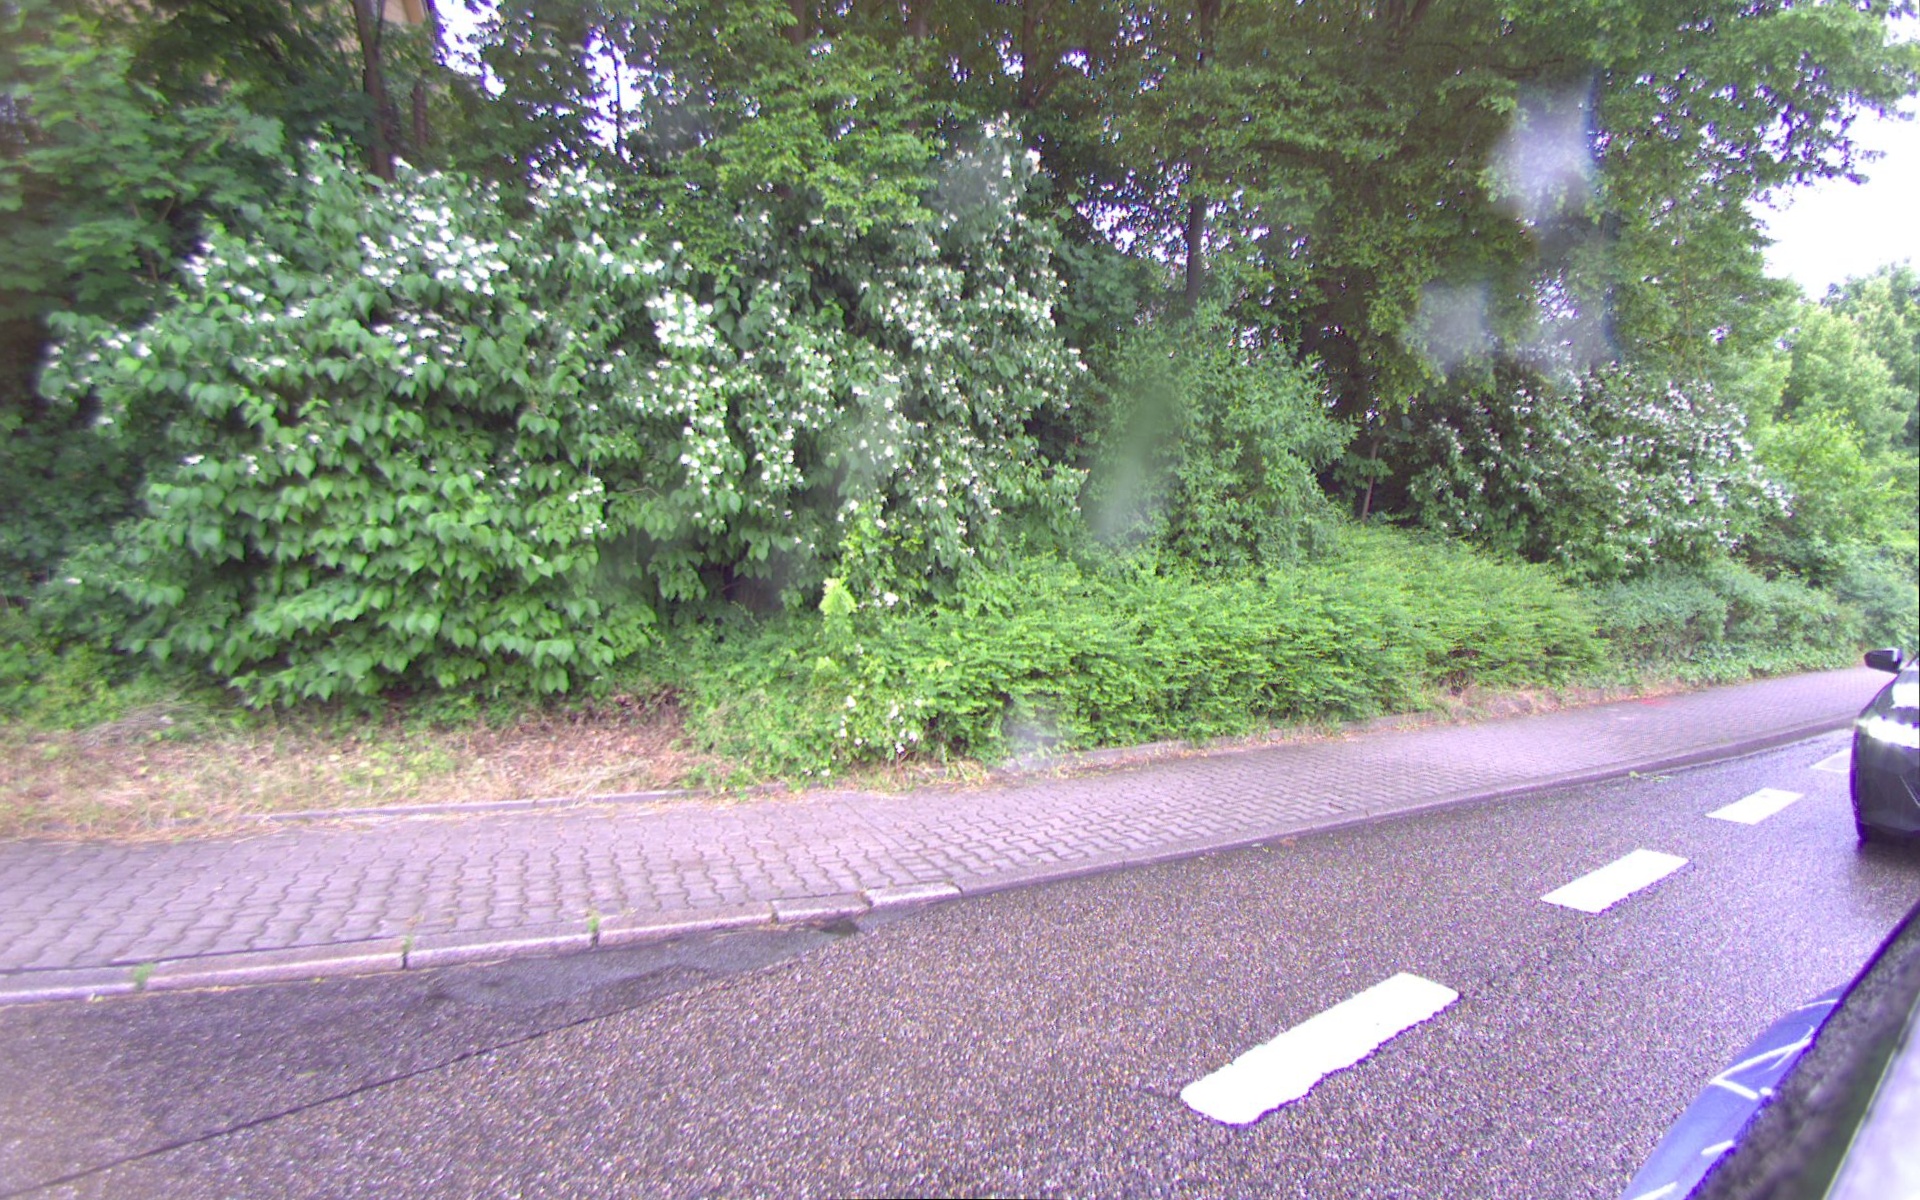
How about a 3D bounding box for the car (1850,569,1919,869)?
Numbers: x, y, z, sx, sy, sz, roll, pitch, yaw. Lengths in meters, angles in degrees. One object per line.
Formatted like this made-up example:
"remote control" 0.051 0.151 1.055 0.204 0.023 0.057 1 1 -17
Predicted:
"car" 7.033 0.617 6.155 4.048 1.574 1.867 -2 3 -41
